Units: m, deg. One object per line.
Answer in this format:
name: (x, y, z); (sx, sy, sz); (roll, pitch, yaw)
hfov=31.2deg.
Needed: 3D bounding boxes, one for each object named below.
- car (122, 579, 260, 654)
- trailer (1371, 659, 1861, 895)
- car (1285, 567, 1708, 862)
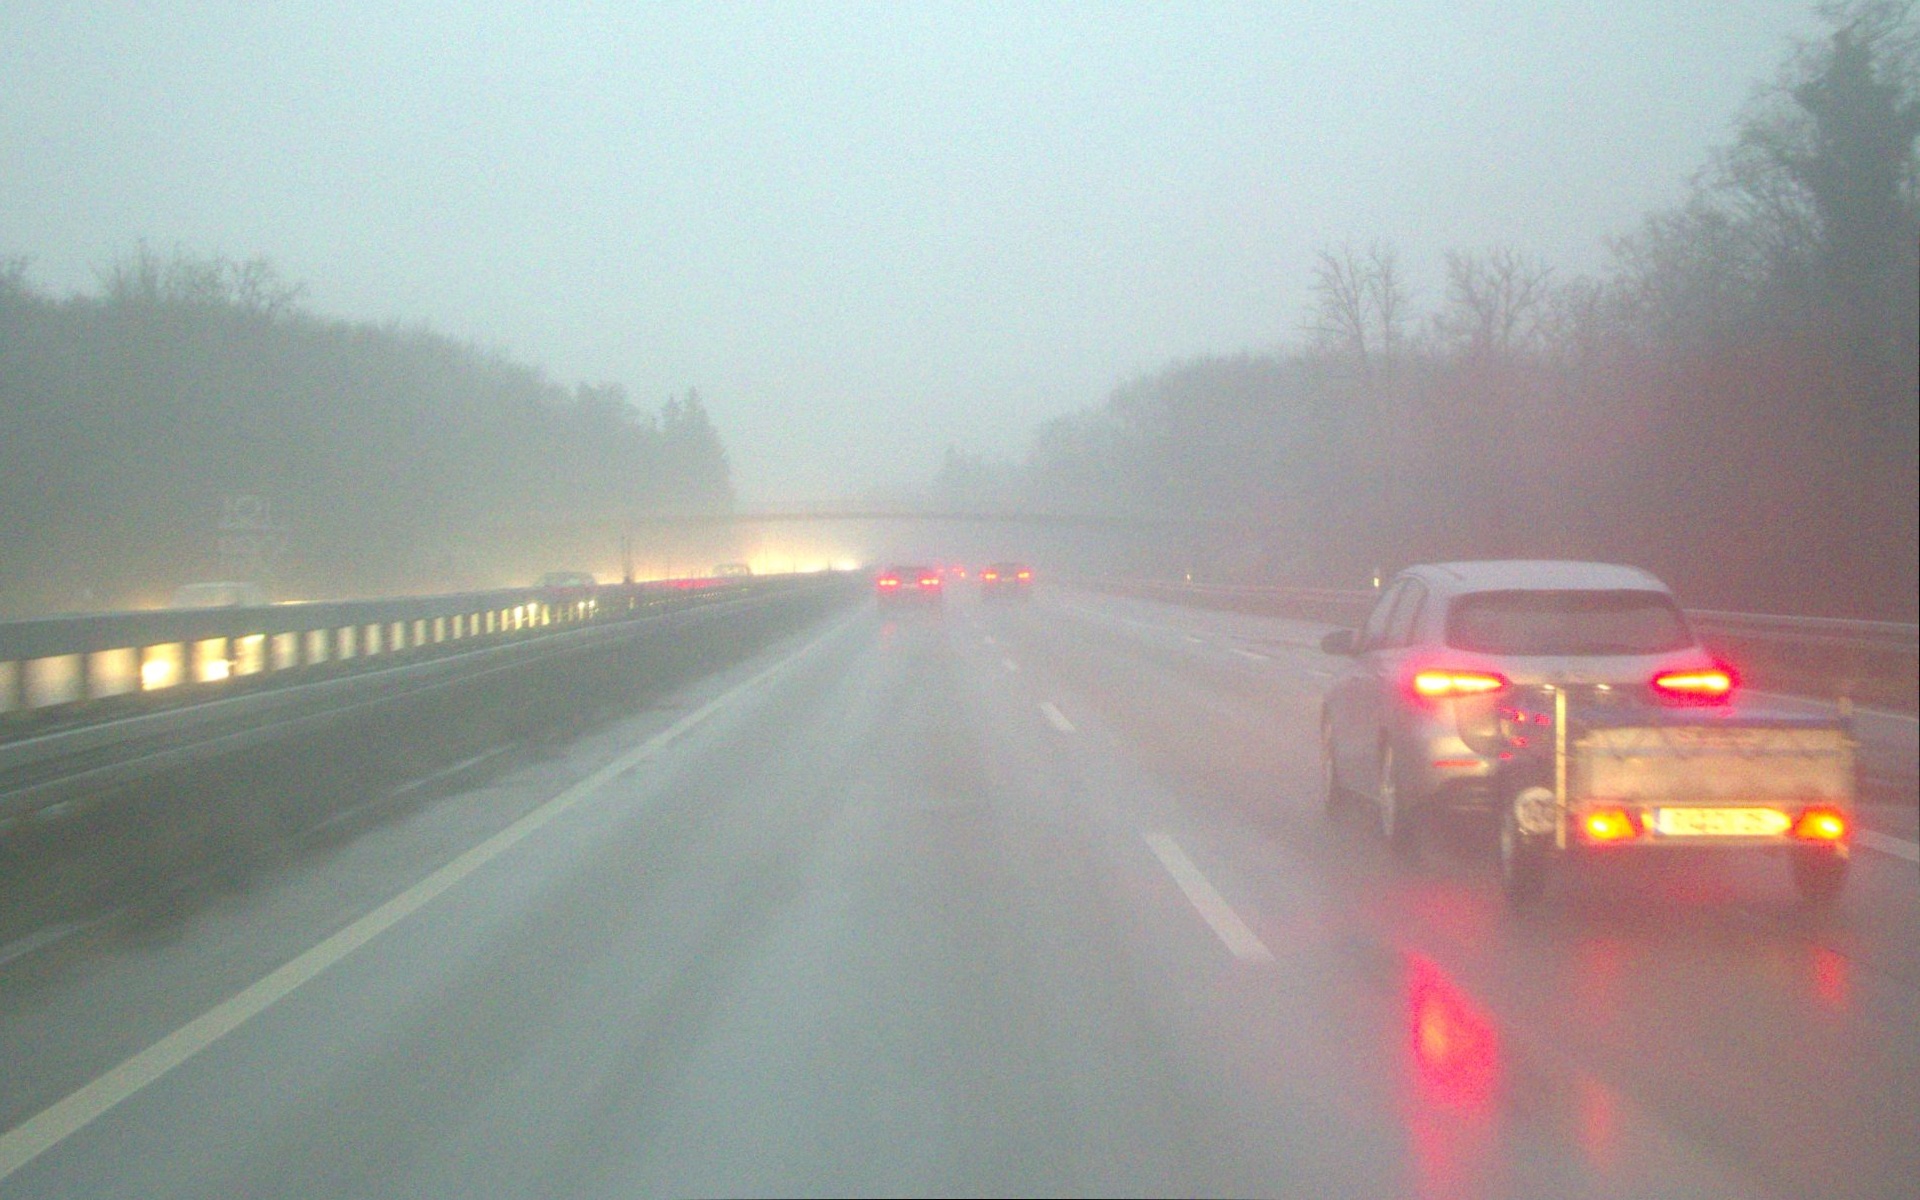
car: (-14.449, 0.290, 64.776); (1.704, 1.347, 4.157); (0, 1, -1)
trailer: (3.053, 0.802, 16.550); (1.748, 0.922, 2.951); (-1, 1, -1)
car: (2.991, 0.582, 19.922); (1.786, 1.511, 3.811); (-1, 1, -1)
